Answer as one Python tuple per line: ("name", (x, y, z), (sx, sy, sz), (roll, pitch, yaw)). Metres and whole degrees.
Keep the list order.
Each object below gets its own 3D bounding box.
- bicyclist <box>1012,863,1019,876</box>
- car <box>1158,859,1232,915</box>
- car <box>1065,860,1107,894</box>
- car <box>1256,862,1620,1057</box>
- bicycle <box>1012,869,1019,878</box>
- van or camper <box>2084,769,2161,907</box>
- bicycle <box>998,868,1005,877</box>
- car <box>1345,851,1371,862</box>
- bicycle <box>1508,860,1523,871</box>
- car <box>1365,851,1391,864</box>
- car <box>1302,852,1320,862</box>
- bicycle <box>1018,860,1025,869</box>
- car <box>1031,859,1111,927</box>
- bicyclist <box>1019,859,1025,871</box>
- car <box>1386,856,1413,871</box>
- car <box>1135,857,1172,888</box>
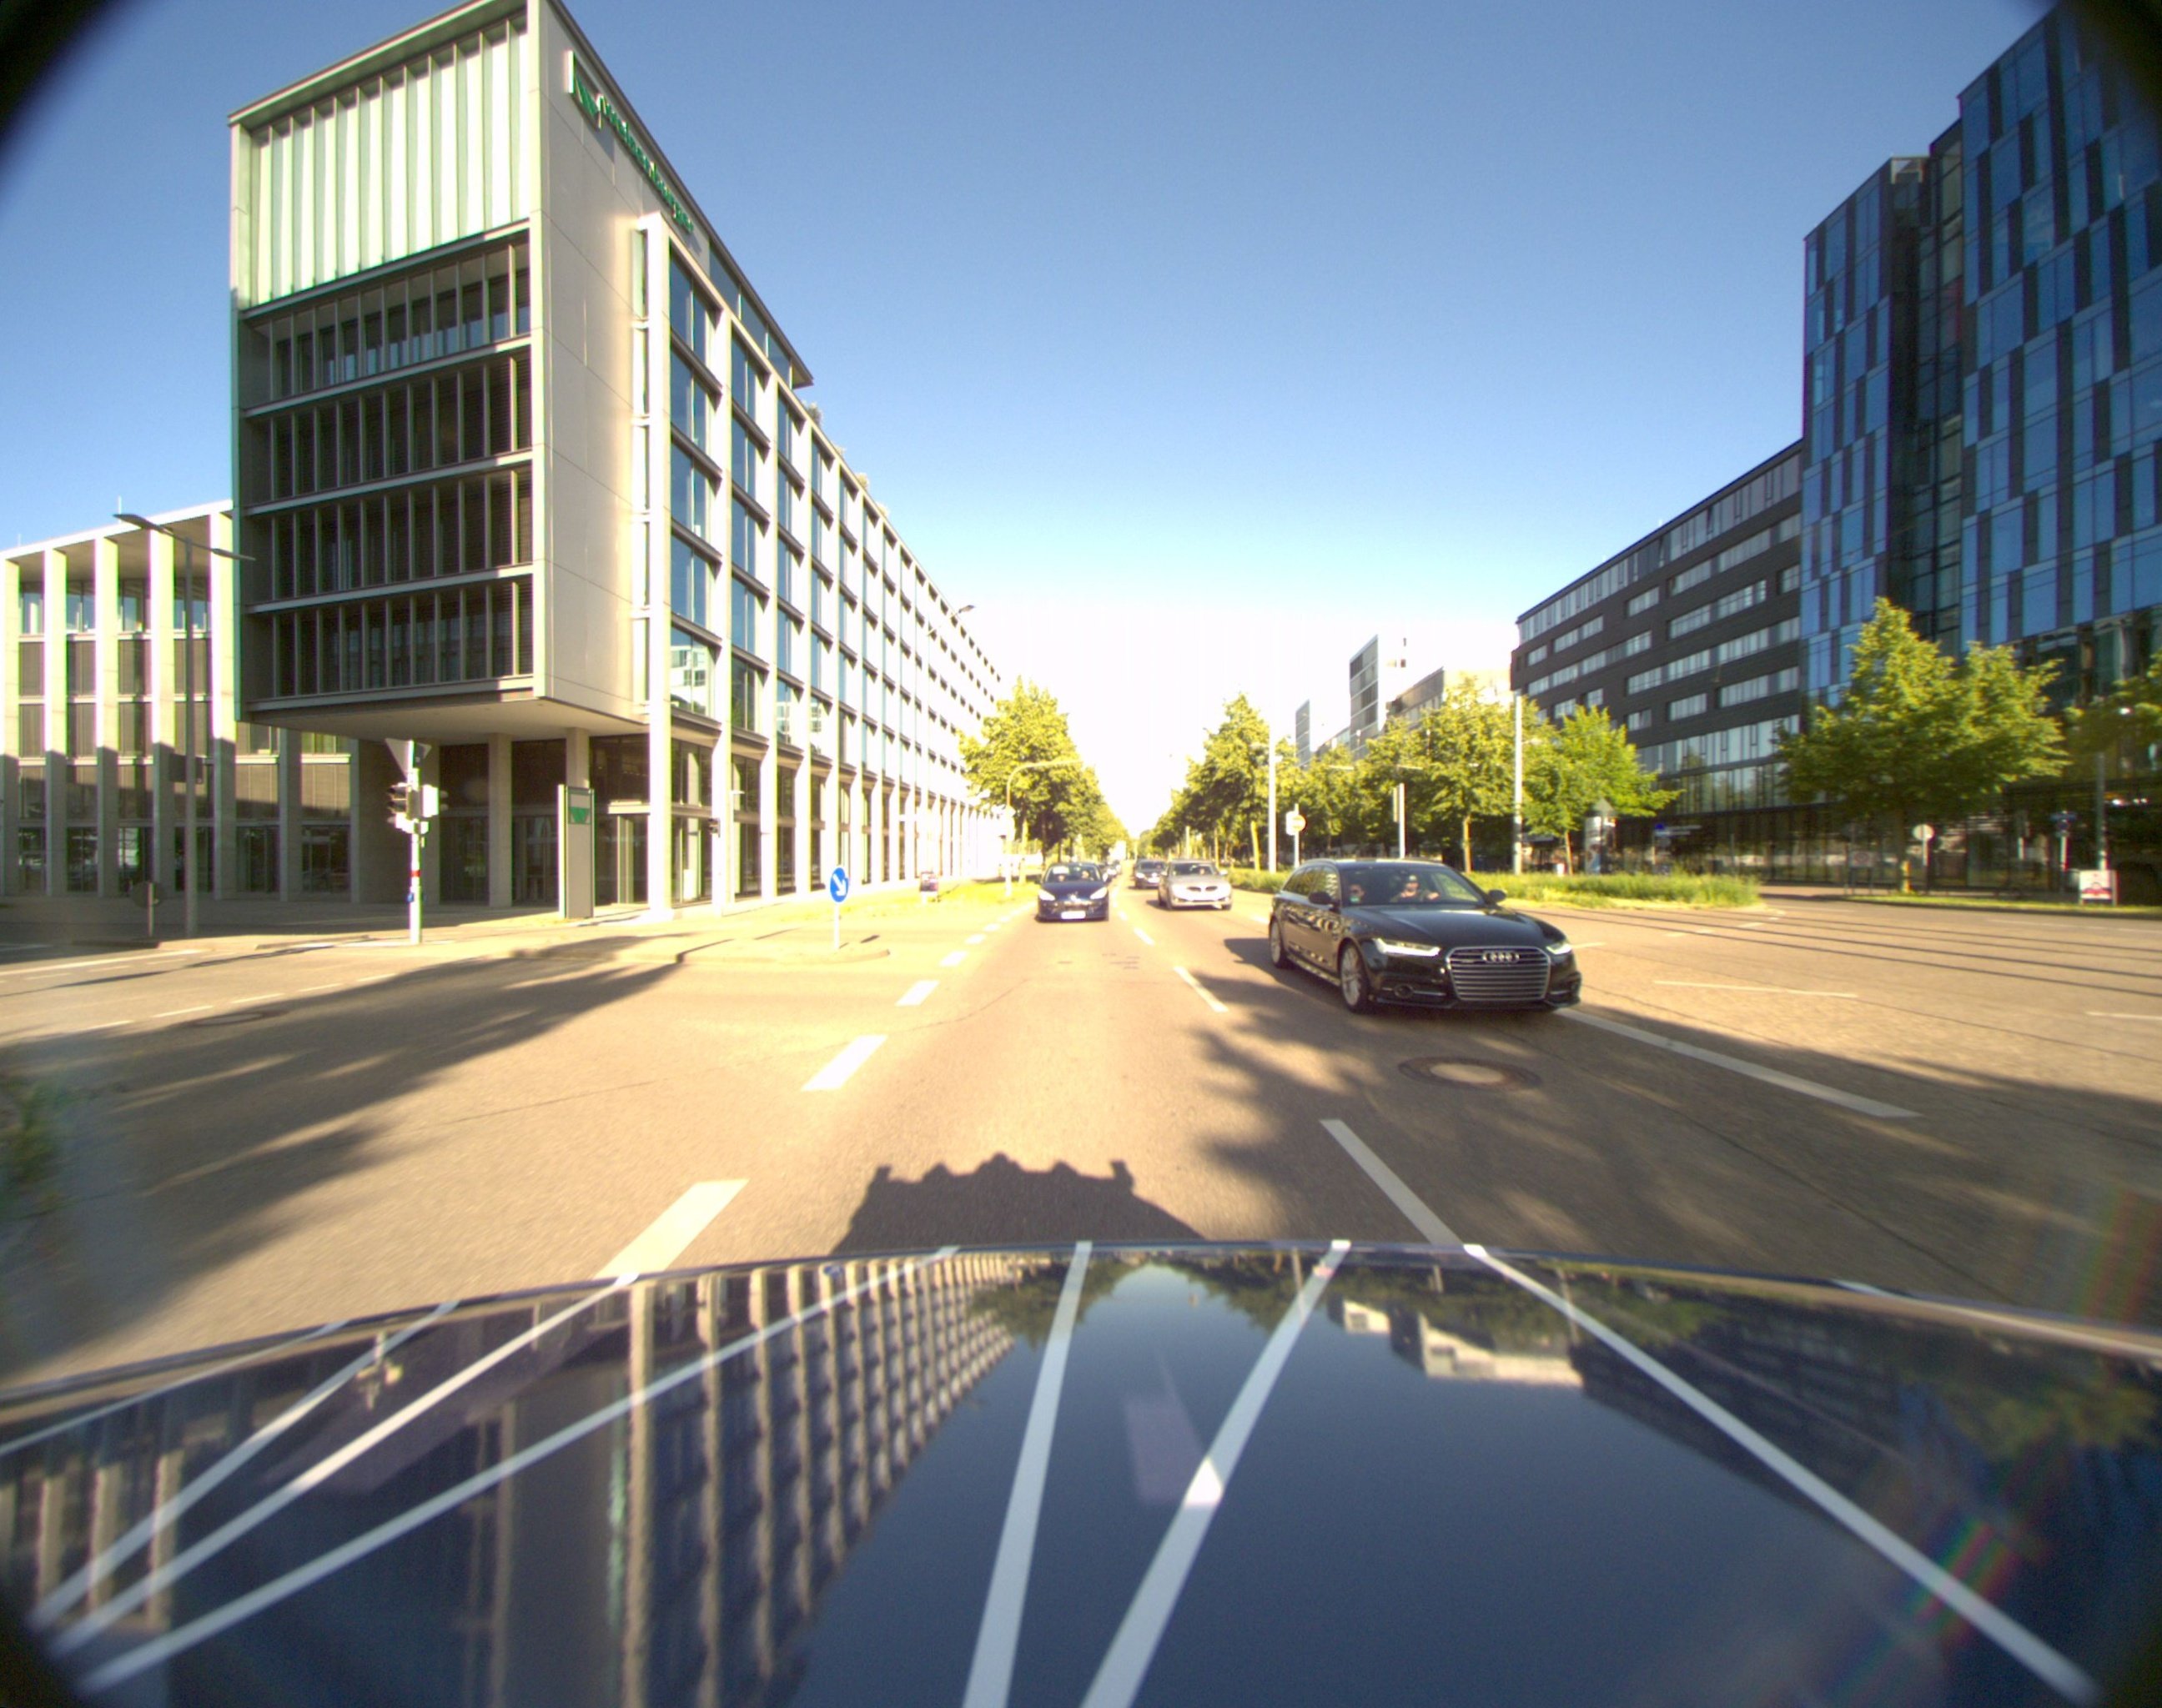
("bicyclist", (-6.375, 1.504, 73.707), (0.534, 1.210, 0.508), (-1, 1, 5))
("car", (3.377, 0.916, 23.214), (1.812, 1.480, 4.743), (0, 0, 3))
("car", (0.296, 1.023, 35.554), (1.611, 1.463, 4.396), (0, 0, 4))
("car", (3.325, 0.849, 8.217), (1.812, 1.448, 4.507), (-1, 0, 0))
("bicycle", (-6.377, 1.901, 73.734), (0.464, 0.813, 1.345), (-1, 1, 5))
("van or camper", (33.887, -0.469, 19.712), (2.759, 4.168, 10.232), (0, 1, 5))
("bicycle", (-7.691, 1.786, 73.681), (0.415, 0.813, 1.320), (-1, 1, 5))
("car", (40.240, 0.351, 110.430), (2.012, 1.689, 4.792), (0, 0, 1))
("bicycle", (43.400, 1.134, 75.886), (0.528, 1.028, 1.848), (-1, 1, 4))
("car", (39.174, 0.482, 100.350), (1.858, 1.674, 4.794), (0, 0, 4))
("car", (41.863, 0.500, 138.231), (2.011, 1.689, 4.793), (0, 0, 3))
("bicycle", (-6.032, 1.063, 77.511), (0.464, 0.813, 1.345), (-1, 1, 5))
("car", (-0.158, 0.920, 19.442), (1.685, 1.513, 3.786), (0, 0, 4))
("bicyclist", (-6.025, 1.118, 77.492), (0.534, 1.282, 0.521), (-1, 1, 5))
("car", (37.706, 1.139, 90.057), (1.858, 1.739, 4.001), (0, 0, 4))
("car", (3.740, 0.927, 39.694), (1.812, 1.513, 4.030), (0, 0, 4))
